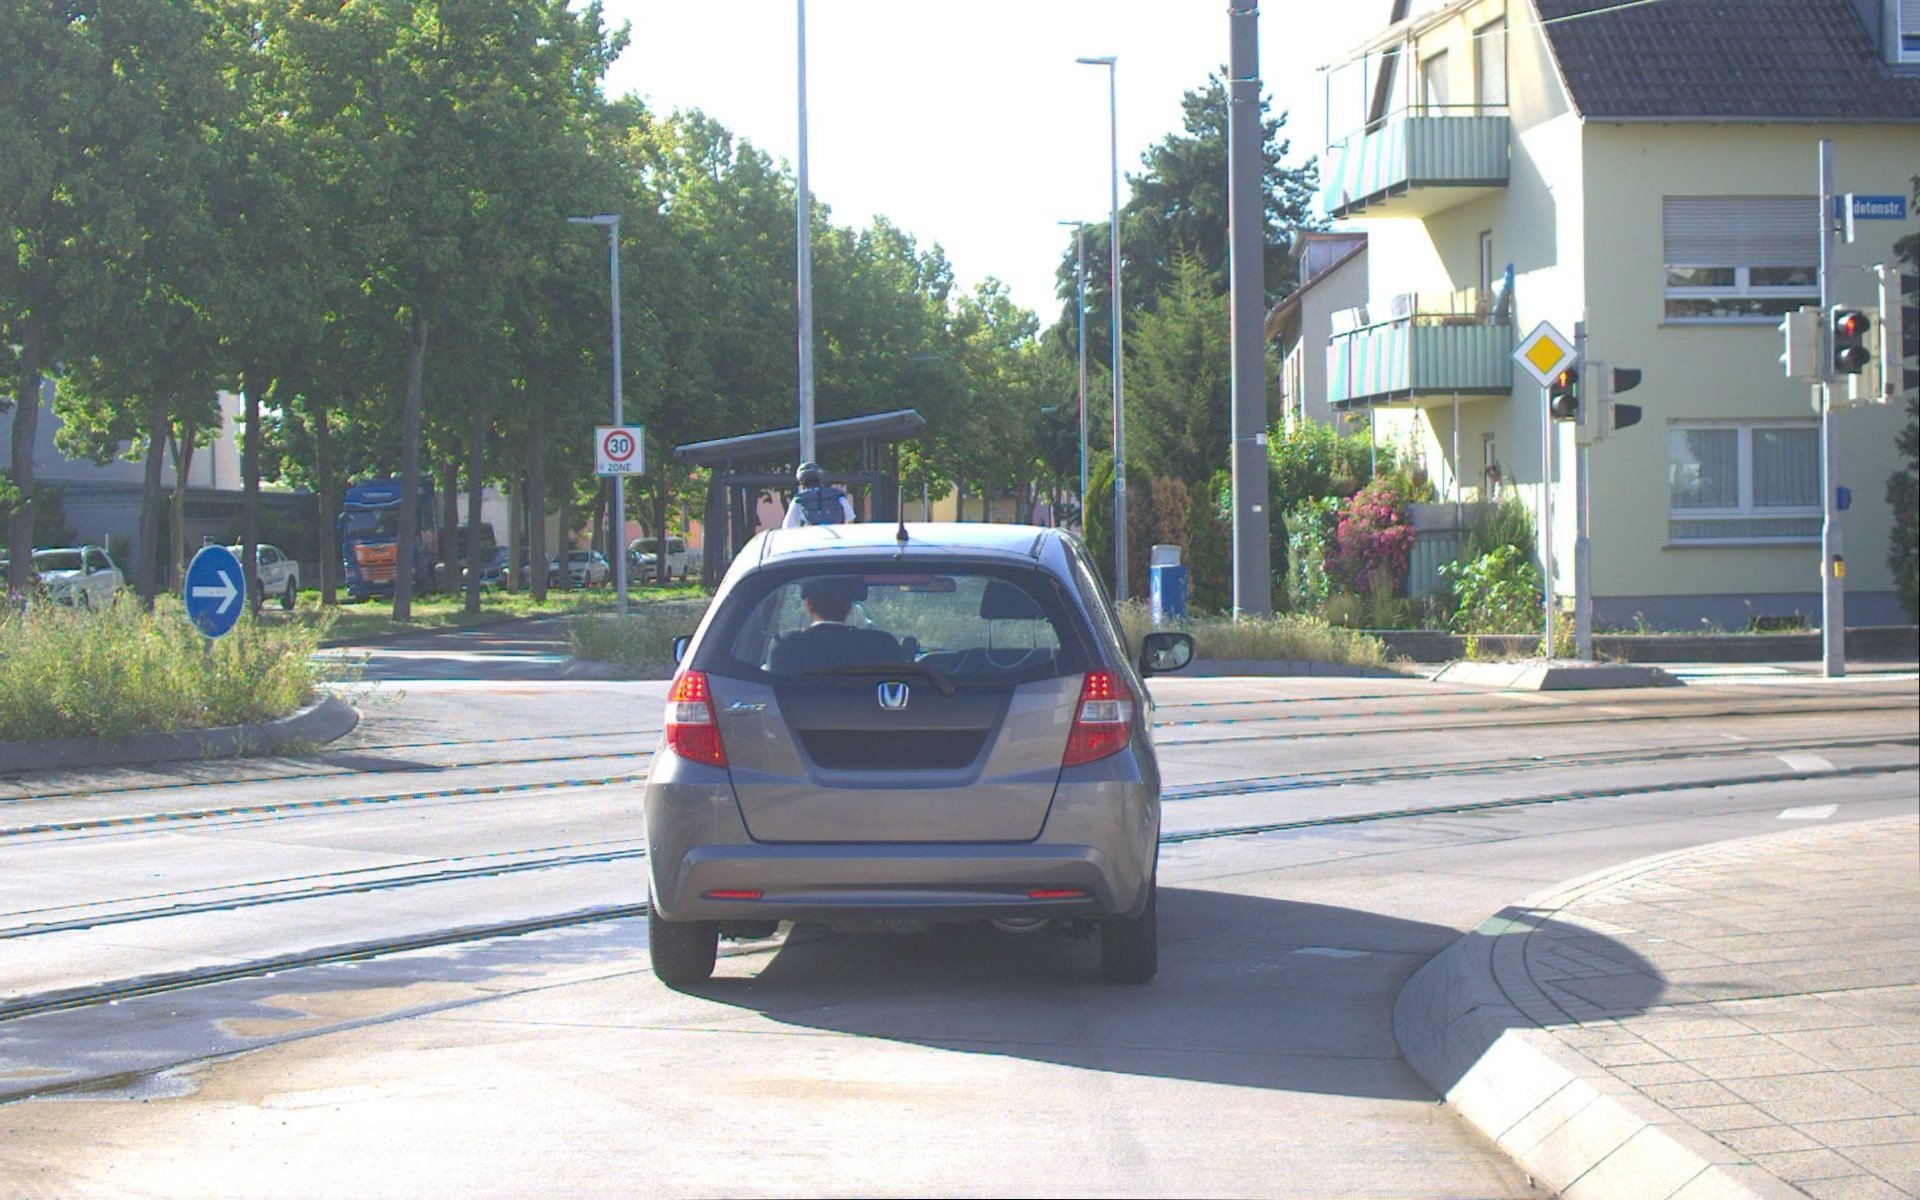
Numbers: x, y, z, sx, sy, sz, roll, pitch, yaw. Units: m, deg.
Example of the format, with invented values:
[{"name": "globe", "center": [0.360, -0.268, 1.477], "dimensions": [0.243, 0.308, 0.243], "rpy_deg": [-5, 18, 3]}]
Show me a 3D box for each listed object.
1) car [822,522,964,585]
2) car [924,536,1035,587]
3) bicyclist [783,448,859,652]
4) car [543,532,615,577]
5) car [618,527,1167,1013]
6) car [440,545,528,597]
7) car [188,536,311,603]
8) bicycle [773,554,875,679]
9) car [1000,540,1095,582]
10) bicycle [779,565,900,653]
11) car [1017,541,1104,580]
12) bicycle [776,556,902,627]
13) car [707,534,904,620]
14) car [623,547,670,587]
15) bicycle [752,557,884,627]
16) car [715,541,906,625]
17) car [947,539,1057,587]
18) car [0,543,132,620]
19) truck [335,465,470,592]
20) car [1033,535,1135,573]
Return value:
[{"name": "car", "center": [-1.686, -1.179, 87.502], "dimensions": [3.517, 1.528, 1.577], "rpy_deg": [1, 1, 1]}, {"name": "car", "center": [0.591, -1.186, 105.872], "dimensions": [3.359, 1.528, 1.523], "rpy_deg": [1, 1, 0]}, {"name": "bicyclist", "center": [-1.200, -0.420, 29.527], "dimensions": [0.603, 1.708, 0.544], "rpy_deg": [-1, -3, -4]}, {"name": "car", "center": [-14.760, -1.776, 133.359], "dimensions": [1.994, 1.694, 4.217], "rpy_deg": [1, 1, 5]}, {"name": "car", "center": [-0.204, 0.483, 12.547], "dimensions": [1.687, 1.486, 3.914], "rpy_deg": [0, 1, 0]}, {"name": "car", "center": [-14.985, -0.941, 108.471], "dimensions": [1.831, 1.575, 4.440], "rpy_deg": [1, 1, 4]}, {"name": "car", "center": [-19.586, -0.866, 94.981], "dimensions": [1.994, 1.766, 5.059], "rpy_deg": [1, 1, 4]}, {"name": "bicycle", "center": [-1.164, 0.153, 29.228], "dimensions": [0.766, 1.033, 1.534], "rpy_deg": [0, -1, -6]}, {"name": "car", "center": [3.306, -1.463, 129.978], "dimensions": [3.516, 1.528, 1.577], "rpy_deg": [1, 1, 0]}, {"name": "bicycle", "center": [-1.697, 0.124, 48.312], "dimensions": [1.665, 1.203, 0.689], "rpy_deg": [1, 1, -3]}, {"name": "car", "center": [4.090, -1.624, 140.604], "dimensions": [3.516, 1.528, 1.577], "rpy_deg": [1, 1, 0]}, {"name": "bicycle", "center": [-1.807, -0.134, 51.103], "dimensions": [1.840, 1.024, 0.689], "rpy_deg": [1, 1, -3]}, {"name": "car", "center": [-2.838, -0.430, 63.612], "dimensions": [3.517, 1.528, 1.577], "rpy_deg": [1, 1, 1]}, {"name": "car", "center": [-13.322, -1.413, 146.038], "dimensions": [1.647, 1.642, 3.569], "rpy_deg": [1, 1, 0]}, {"name": "bicycle", "center": [-2.148, -0.123, 51.996], "dimensions": [1.973, 1.024, 0.696], "rpy_deg": [1, 1, -3]}, {"name": "car", "center": [-2.819, -0.338, 65.384], "dimensions": [3.517, 1.528, 1.577], "rpy_deg": [1, 1, 1]}, {"name": "car", "center": [1.350, -1.207, 110.621], "dimensions": [3.479, 1.488, 1.552], "rpy_deg": [1, 1, 0]}, {"name": "car", "center": [-20.412, -0.443, 78.444], "dimensions": [1.993, 1.694, 4.218], "rpy_deg": [1, 1, 0]}, {"name": "truck", "center": [-18.194, -2.352, 112.621], "dimensions": [3.069, 3.979, 8.009], "rpy_deg": [1, 1, 0]}, {"name": "car", "center": [4.321, -1.619, 120.016], "dimensions": [3.516, 1.275, 1.577], "rpy_deg": [1, 1, 0]}]
